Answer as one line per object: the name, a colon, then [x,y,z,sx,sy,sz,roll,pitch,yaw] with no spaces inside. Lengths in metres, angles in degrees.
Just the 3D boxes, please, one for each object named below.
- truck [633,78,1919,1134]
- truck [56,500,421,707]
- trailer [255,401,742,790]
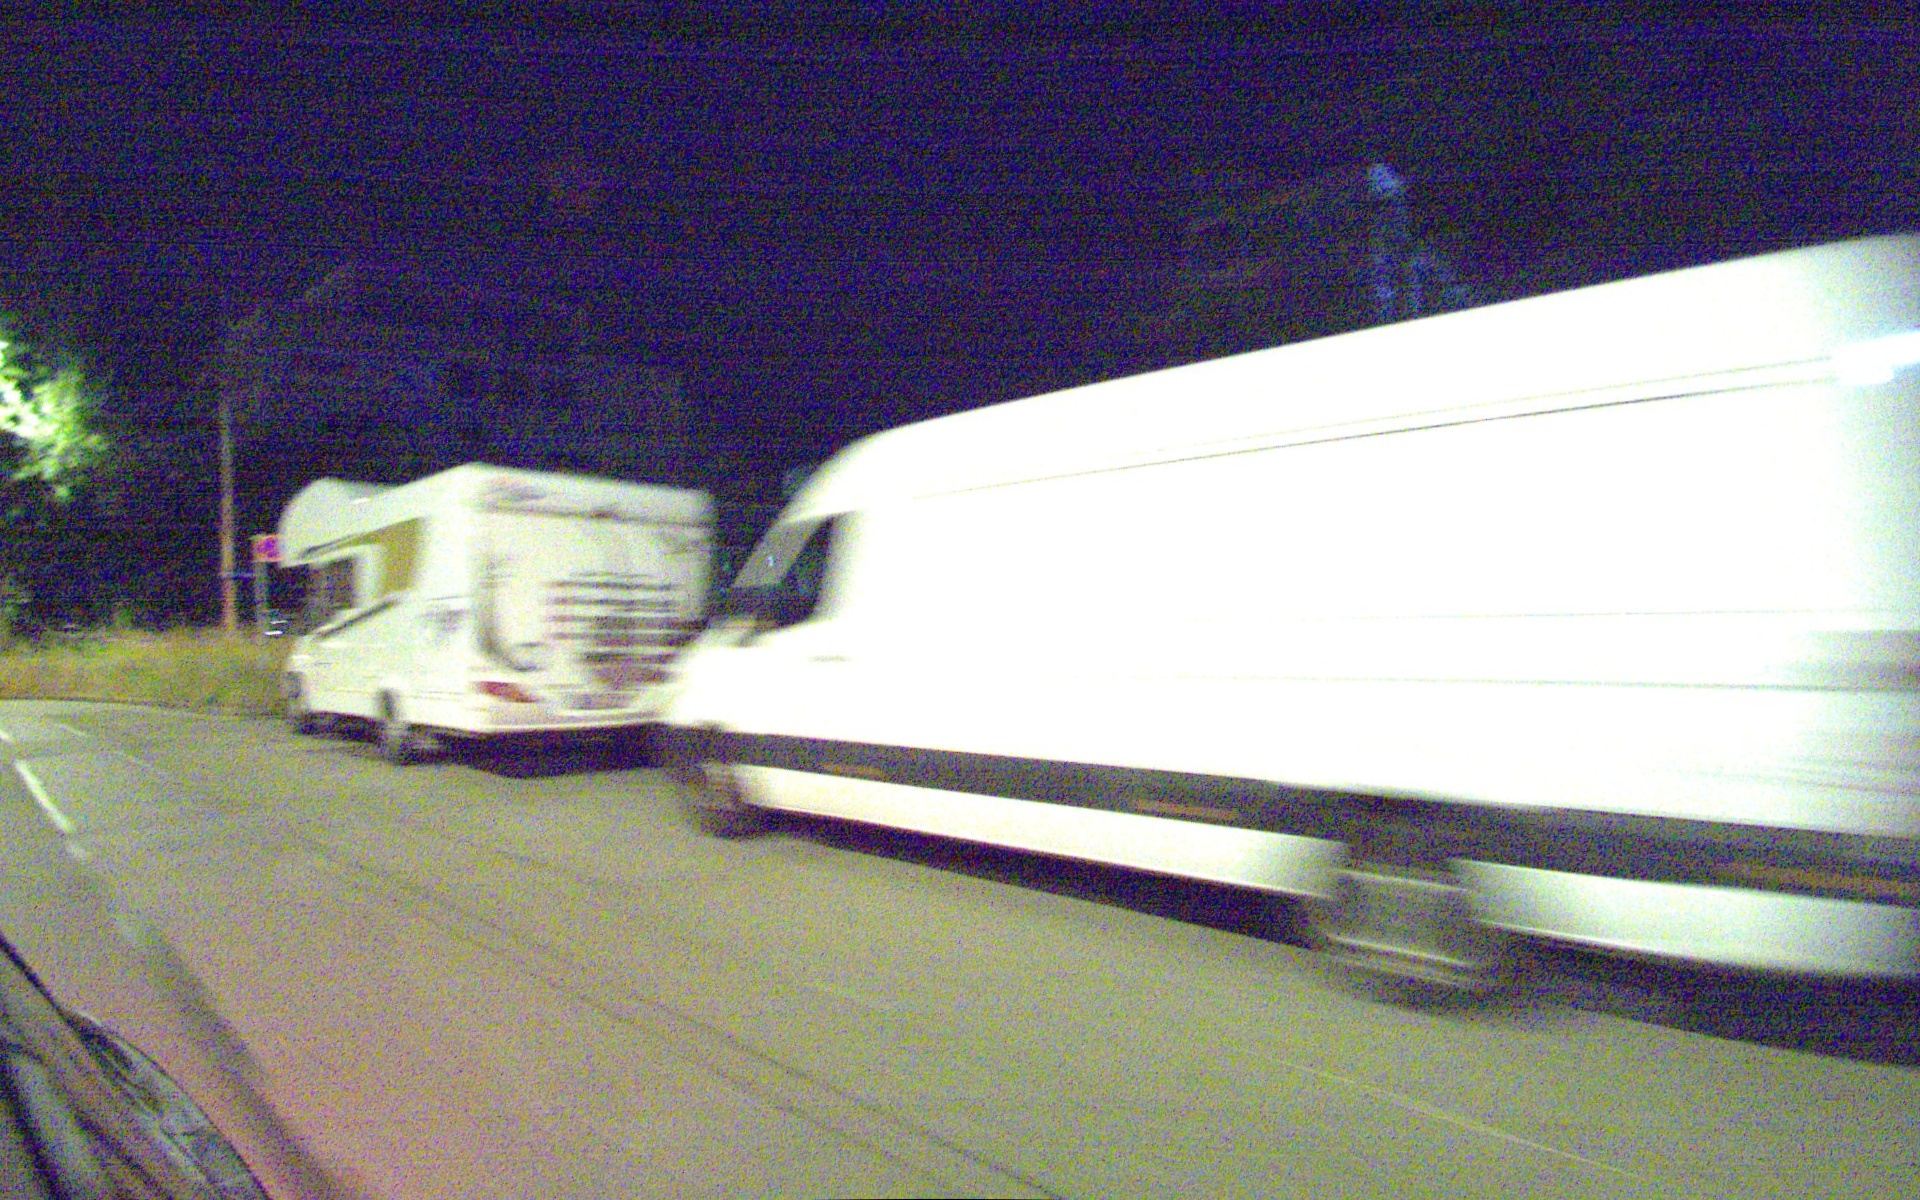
truck: [1.082,0.051,5.337,7.242,2.805,1.972,-1,-1,42]
truck: [-13.793,0.085,18.934,9.317,3.088,2.719,-1,0,36]
trailer: [-5.810,0.011,11.728,7.957,3.096,2.454,-1,-1,45]
